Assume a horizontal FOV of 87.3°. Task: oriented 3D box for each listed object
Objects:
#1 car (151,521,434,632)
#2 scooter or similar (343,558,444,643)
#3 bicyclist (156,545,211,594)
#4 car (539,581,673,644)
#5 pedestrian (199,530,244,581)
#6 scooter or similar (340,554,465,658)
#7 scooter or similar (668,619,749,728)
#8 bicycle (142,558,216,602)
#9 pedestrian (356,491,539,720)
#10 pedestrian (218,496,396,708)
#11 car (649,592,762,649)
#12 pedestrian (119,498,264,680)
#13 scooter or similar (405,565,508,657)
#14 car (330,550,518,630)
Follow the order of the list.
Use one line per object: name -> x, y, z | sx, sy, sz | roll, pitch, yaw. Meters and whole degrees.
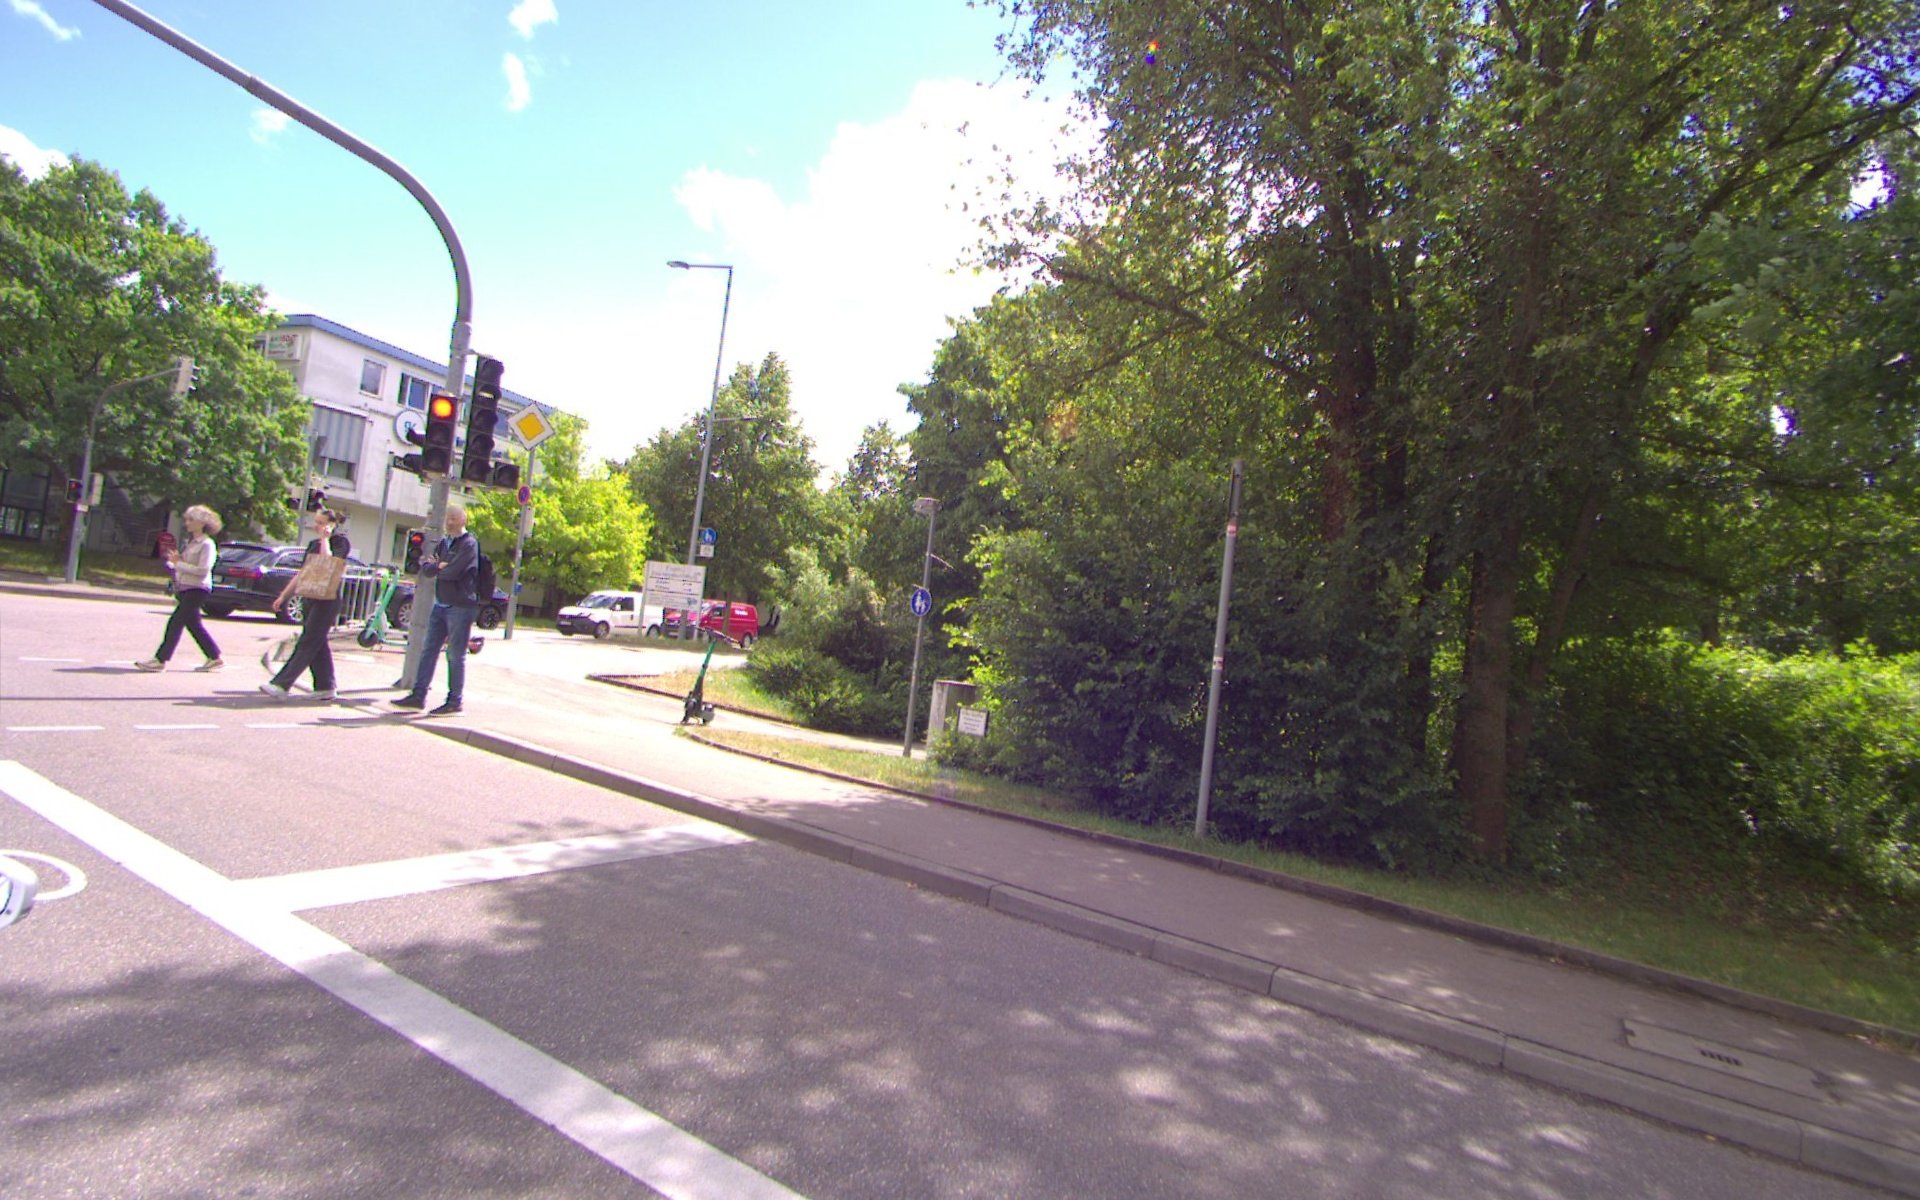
car -> -12.731, -0.343, 19.628 | 1.962, 1.571, 4.527 | 7, -2, 8
scooter or similar -> -8.950, 0.027, 15.948 | 0.533, 1.168, 1.362 | 9, -3, 7
bicyclist -> -18.969, -0.744, 24.587 | 0.625, 1.034, 0.793 | 7, -2, 31
car -> -12.970, 0.512, 37.192 | 1.963, 1.737, 4.576 | 7, -2, 23
pedestrian -> -26.799, -1.603, 36.504 | 0.890, 1.662, 0.772 | 7, -1, 16
scooter or similar -> -7.890, 0.099, 14.284 | 0.455, 1.292, 1.344 | 8, -1, 38
scooter or similar -> -3.353, 1.003, 13.530 | 0.706, 1.287, 1.243 | 10, -7, -7
bicycle -> -19.172, -0.491, 24.684 | 1.778, 0.828, 0.793 | 6, -2, 32
pedestrian -> -4.770, 0.077, 9.406 | 0.881, 1.964, 0.968 | 7, -1, 28
pedestrian -> -5.991, 0.033, 9.277 | 0.758, 1.787, 0.936 | 7, 0, 20
car -> -10.612, 0.908, 42.386 | 1.964, 1.885, 4.822 | 5, -3, 23
pedestrian -> -7.813, -0.108, 10.227 | 0.950, 1.694, 0.860 | 7, -1, -43
scooter or similar -> -7.940, 0.191, 15.916 | 0.547, 1.254, 1.231 | 8, -3, 23
car -> -15.915, -0.237, 30.168 | 1.964, 1.737, 4.574 | 7, -2, 25
